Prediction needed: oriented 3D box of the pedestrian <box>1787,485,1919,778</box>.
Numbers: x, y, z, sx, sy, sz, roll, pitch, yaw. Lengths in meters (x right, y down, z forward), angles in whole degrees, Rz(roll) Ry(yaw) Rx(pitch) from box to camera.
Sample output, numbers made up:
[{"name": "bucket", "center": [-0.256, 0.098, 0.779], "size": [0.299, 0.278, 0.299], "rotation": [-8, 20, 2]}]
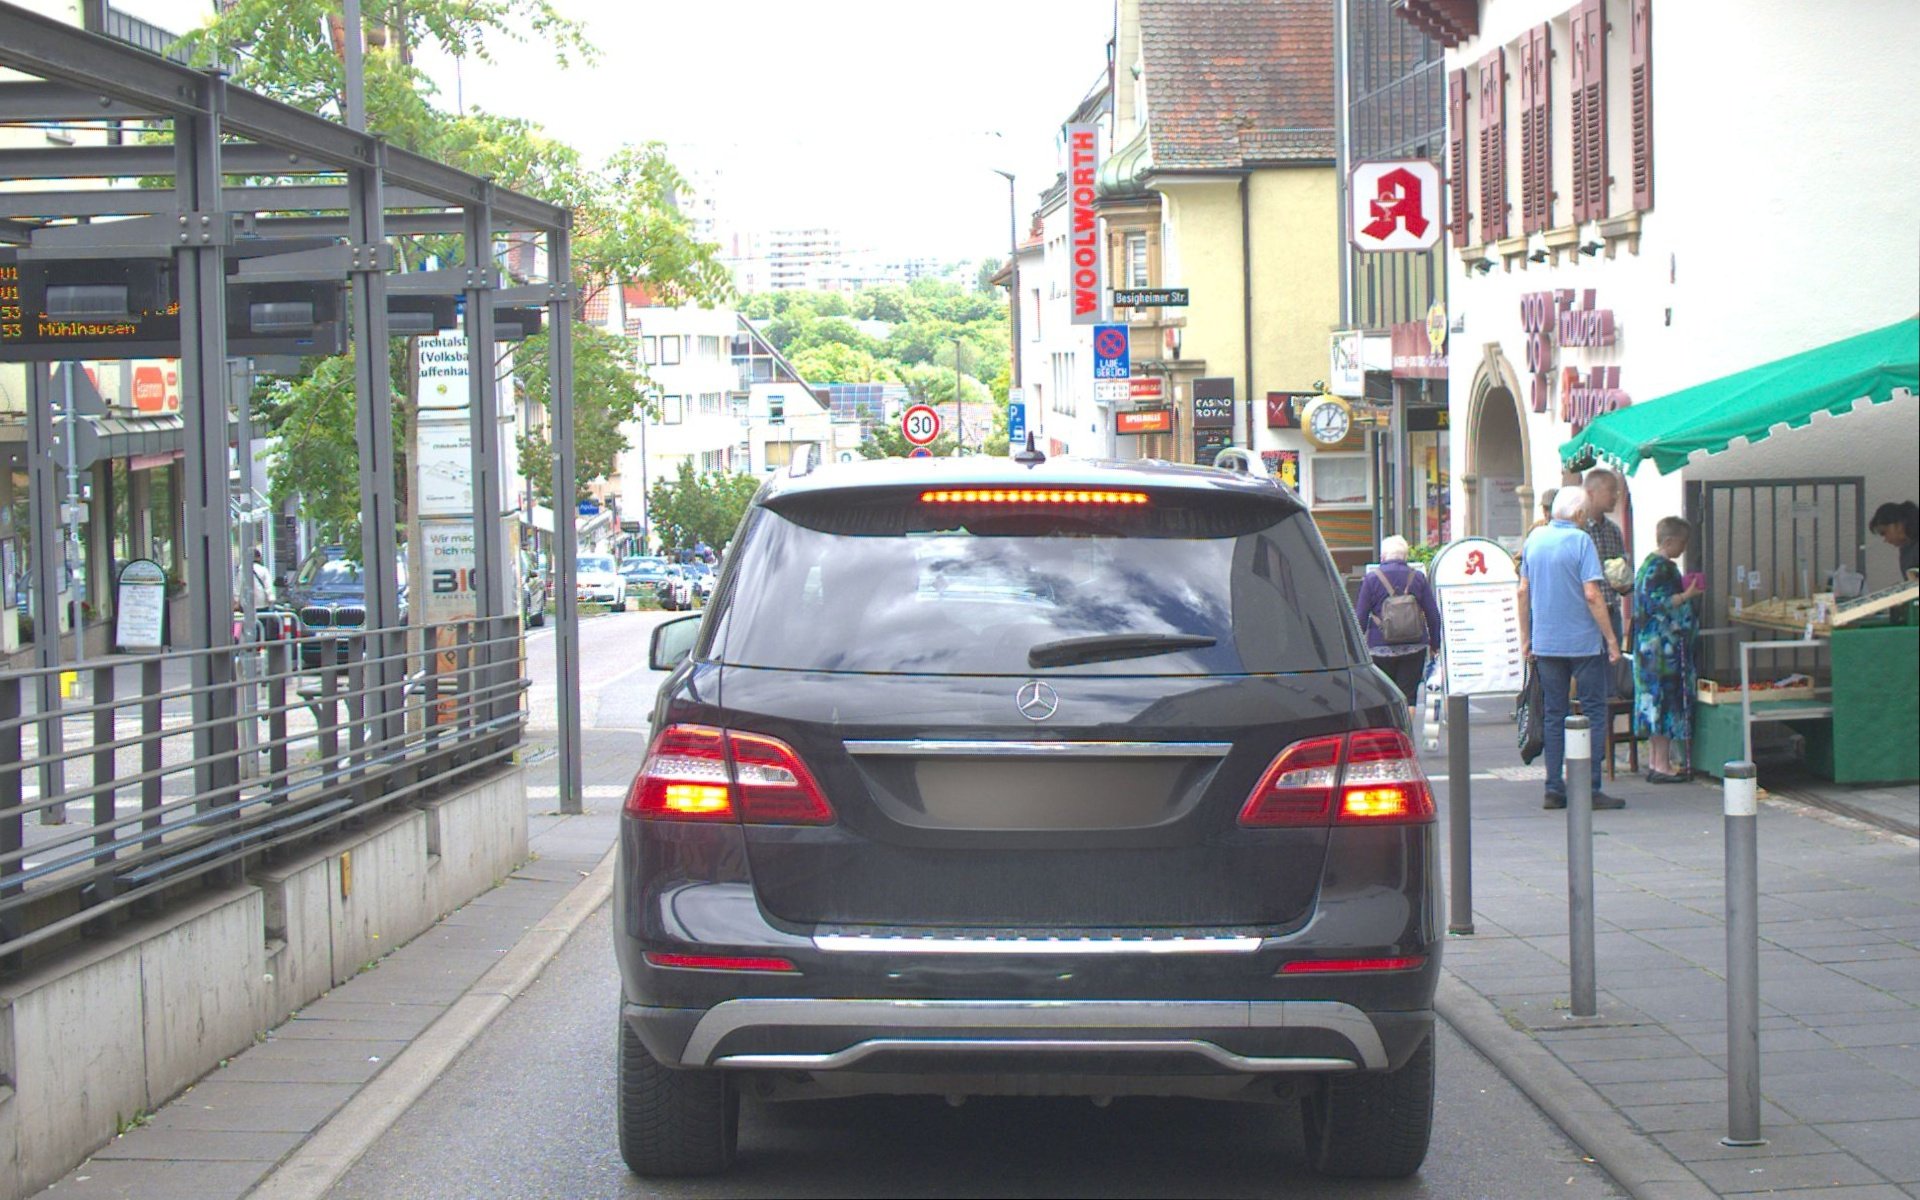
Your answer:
[{"name": "pedestrian", "center": [5.243, 0.177, 20.164], "size": [0.573, 1.683, 0.566], "rotation": [-1, 1, -6]}]

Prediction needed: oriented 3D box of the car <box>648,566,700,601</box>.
[{"name": "car", "center": [-9.191, -0.538, 110.431], "size": [1.388, 1.066, 3.113], "rotation": [-1, 1, 0]}]

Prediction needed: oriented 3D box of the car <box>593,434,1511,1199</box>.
[{"name": "car", "center": [0.121, 0.501, 9.199], "size": [1.900, 1.741, 4.001], "rotation": [1, 1, -2]}]

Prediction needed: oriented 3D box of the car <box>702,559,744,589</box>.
[{"name": "car", "center": [-9.062, -1.012, 131.655], "size": [1.388, 1.066, 3.113], "rotation": [-1, 1, 0]}]

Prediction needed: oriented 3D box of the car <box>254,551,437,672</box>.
[{"name": "car", "center": [-8.087, 0.120, 45.535], "size": [1.689, 1.484, 3.979], "rotation": [1, 1, 0]}]

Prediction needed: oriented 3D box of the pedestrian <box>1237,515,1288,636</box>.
[{"name": "pedestrian", "center": [4.262, -0.348, 48.482], "size": [0.606, 1.683, 0.724], "rotation": [-1, 1, -1]}]

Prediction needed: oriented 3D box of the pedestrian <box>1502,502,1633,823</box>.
[{"name": "pedestrian", "center": [3.326, 0.332, 18.846], "size": [0.542, 1.720, 0.528], "rotation": [-1, 1, -6]}]

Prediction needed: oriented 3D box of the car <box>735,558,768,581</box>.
[{"name": "car", "center": [-9.956, -1.463, 164.221], "size": [1.388, 1.066, 3.113], "rotation": [-1, 1, 0]}]

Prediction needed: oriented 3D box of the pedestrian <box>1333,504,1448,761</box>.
[{"name": "pedestrian", "center": [2.866, 0.211, 22.929], "size": [0.621, 1.683, 0.566], "rotation": [1, 1, -6]}]

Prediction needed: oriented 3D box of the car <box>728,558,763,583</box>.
[{"name": "car", "center": [-9.906, -1.360, 158.933], "size": [1.388, 1.066, 3.113], "rotation": [-1, 1, 0]}]

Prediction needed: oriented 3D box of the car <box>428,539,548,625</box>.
[{"name": "car", "center": [-8.564, -0.347, 62.582], "size": [1.660, 1.484, 3.748], "rotation": [1, 1, 0]}]

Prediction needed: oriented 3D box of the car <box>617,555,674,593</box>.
[{"name": "car", "center": [-9.359, -0.785, 102.431], "size": [1.388, 1.066, 3.113], "rotation": [-1, 1, 0]}]

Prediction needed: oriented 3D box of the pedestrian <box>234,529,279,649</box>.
[{"name": "pedestrian", "center": [-10.000, -0.160, 48.879], "size": [0.513, 1.683, 0.541], "rotation": [1, 1, -1]}]

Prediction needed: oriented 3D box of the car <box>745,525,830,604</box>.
[{"name": "car", "center": [-3.890, -0.824, 78.075], "size": [1.770, 1.707, 4.000], "rotation": [1, 1, -1]}]

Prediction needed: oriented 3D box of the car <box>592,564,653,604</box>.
[{"name": "car", "center": [-9.462, -0.458, 96.612], "size": [1.388, 1.066, 3.113], "rotation": [-1, 1, 0]}]

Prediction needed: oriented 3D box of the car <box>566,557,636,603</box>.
[{"name": "car", "center": [-8.880, -0.500, 85.235], "size": [1.388, 1.066, 3.113], "rotation": [-1, 1, 0]}]

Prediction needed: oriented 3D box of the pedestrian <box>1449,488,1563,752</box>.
[{"name": "pedestrian", "center": [3.786, 0.133, 23.888], "size": [0.639, 1.803, 0.685], "rotation": [1, 1, -1]}]

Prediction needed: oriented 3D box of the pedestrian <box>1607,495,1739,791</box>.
[{"name": "pedestrian", "center": [4.147, 0.241, 20.026], "size": [0.573, 1.683, 0.566], "rotation": [-1, 1, -6]}]

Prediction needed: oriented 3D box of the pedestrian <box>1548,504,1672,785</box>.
[{"name": "pedestrian", "center": [3.965, 0.264, 20.995], "size": [0.573, 1.683, 0.566], "rotation": [1, 1, -6]}]
